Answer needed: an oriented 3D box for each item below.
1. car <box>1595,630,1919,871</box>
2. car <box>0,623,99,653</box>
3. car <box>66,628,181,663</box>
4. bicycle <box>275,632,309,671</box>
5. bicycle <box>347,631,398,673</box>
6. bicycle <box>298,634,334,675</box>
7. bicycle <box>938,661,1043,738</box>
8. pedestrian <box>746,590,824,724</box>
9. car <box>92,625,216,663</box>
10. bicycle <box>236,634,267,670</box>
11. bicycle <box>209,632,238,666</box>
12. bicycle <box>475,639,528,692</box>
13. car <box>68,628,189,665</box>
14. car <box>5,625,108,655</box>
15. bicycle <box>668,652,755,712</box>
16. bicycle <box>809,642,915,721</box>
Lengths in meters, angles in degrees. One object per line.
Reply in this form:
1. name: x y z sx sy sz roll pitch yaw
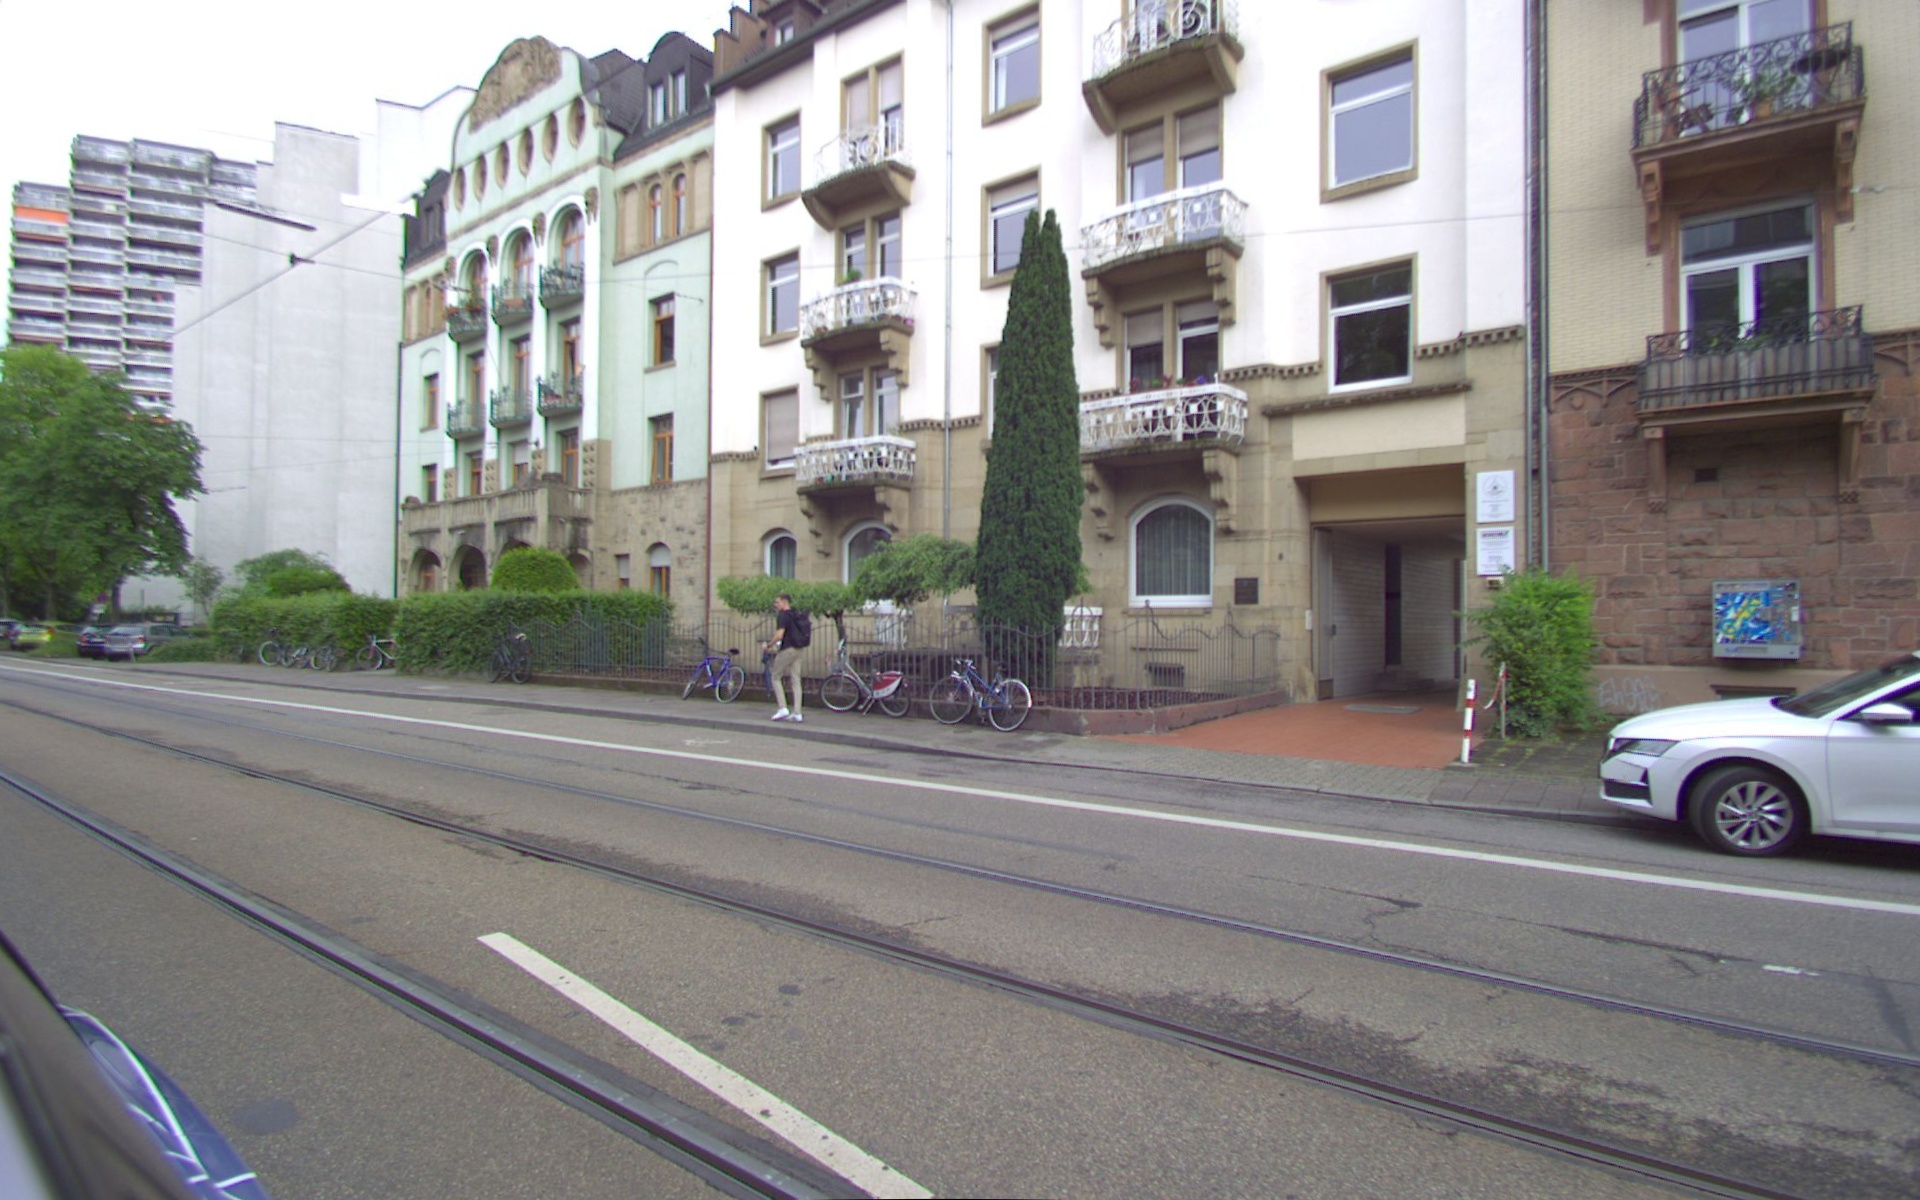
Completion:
1. car: 6.979 0.961 6.660 4.602 1.496 1.730 -1 -3 38
2. car: -46.115 1.938 51.338 1.669 1.453 4.004 1 -2 -5
3. car: -35.659 1.907 43.268 1.671 1.414 4.001 1 -2 -1
4. bicycle: -19.533 1.502 29.591 1.545 1.092 0.356 -1 -3 39
5. bicycle: -16.383 1.443 28.250 0.300 1.091 1.190 -1 0 40
6. bicycle: -17.989 1.513 28.269 1.545 1.092 0.356 -1 -3 39
7. bicycle: 0.389 1.318 13.585 1.513 0.945 0.329 -1 -3 38
8. pedestrian: -2.533 0.812 14.624 0.881 1.858 0.661 -1 -3 38
9. car: -31.163 1.690 39.294 1.671 1.414 4.001 1 -2 -1
10. bicycle: -22.174 1.610 31.651 1.545 1.092 0.356 -1 -3 39
11. bicycle: -24.410 1.628 33.532 1.545 1.092 0.356 -1 -3 39
12. bicycle: -9.971 1.404 21.987 1.545 1.092 0.356 -1 -3 39
13. car: -33.487 1.854 40.912 1.671 1.414 4.001 1 -2 -1
14. car: -43.874 1.925 49.258 1.669 1.405 4.004 1 -2 -5
15. bicycle: -4.344 1.406 17.609 1.660 0.935 0.354 -2 -22 41
16. bicycle: -1.464 1.195 15.050 1.617 1.110 0.382 -1 -2 28
